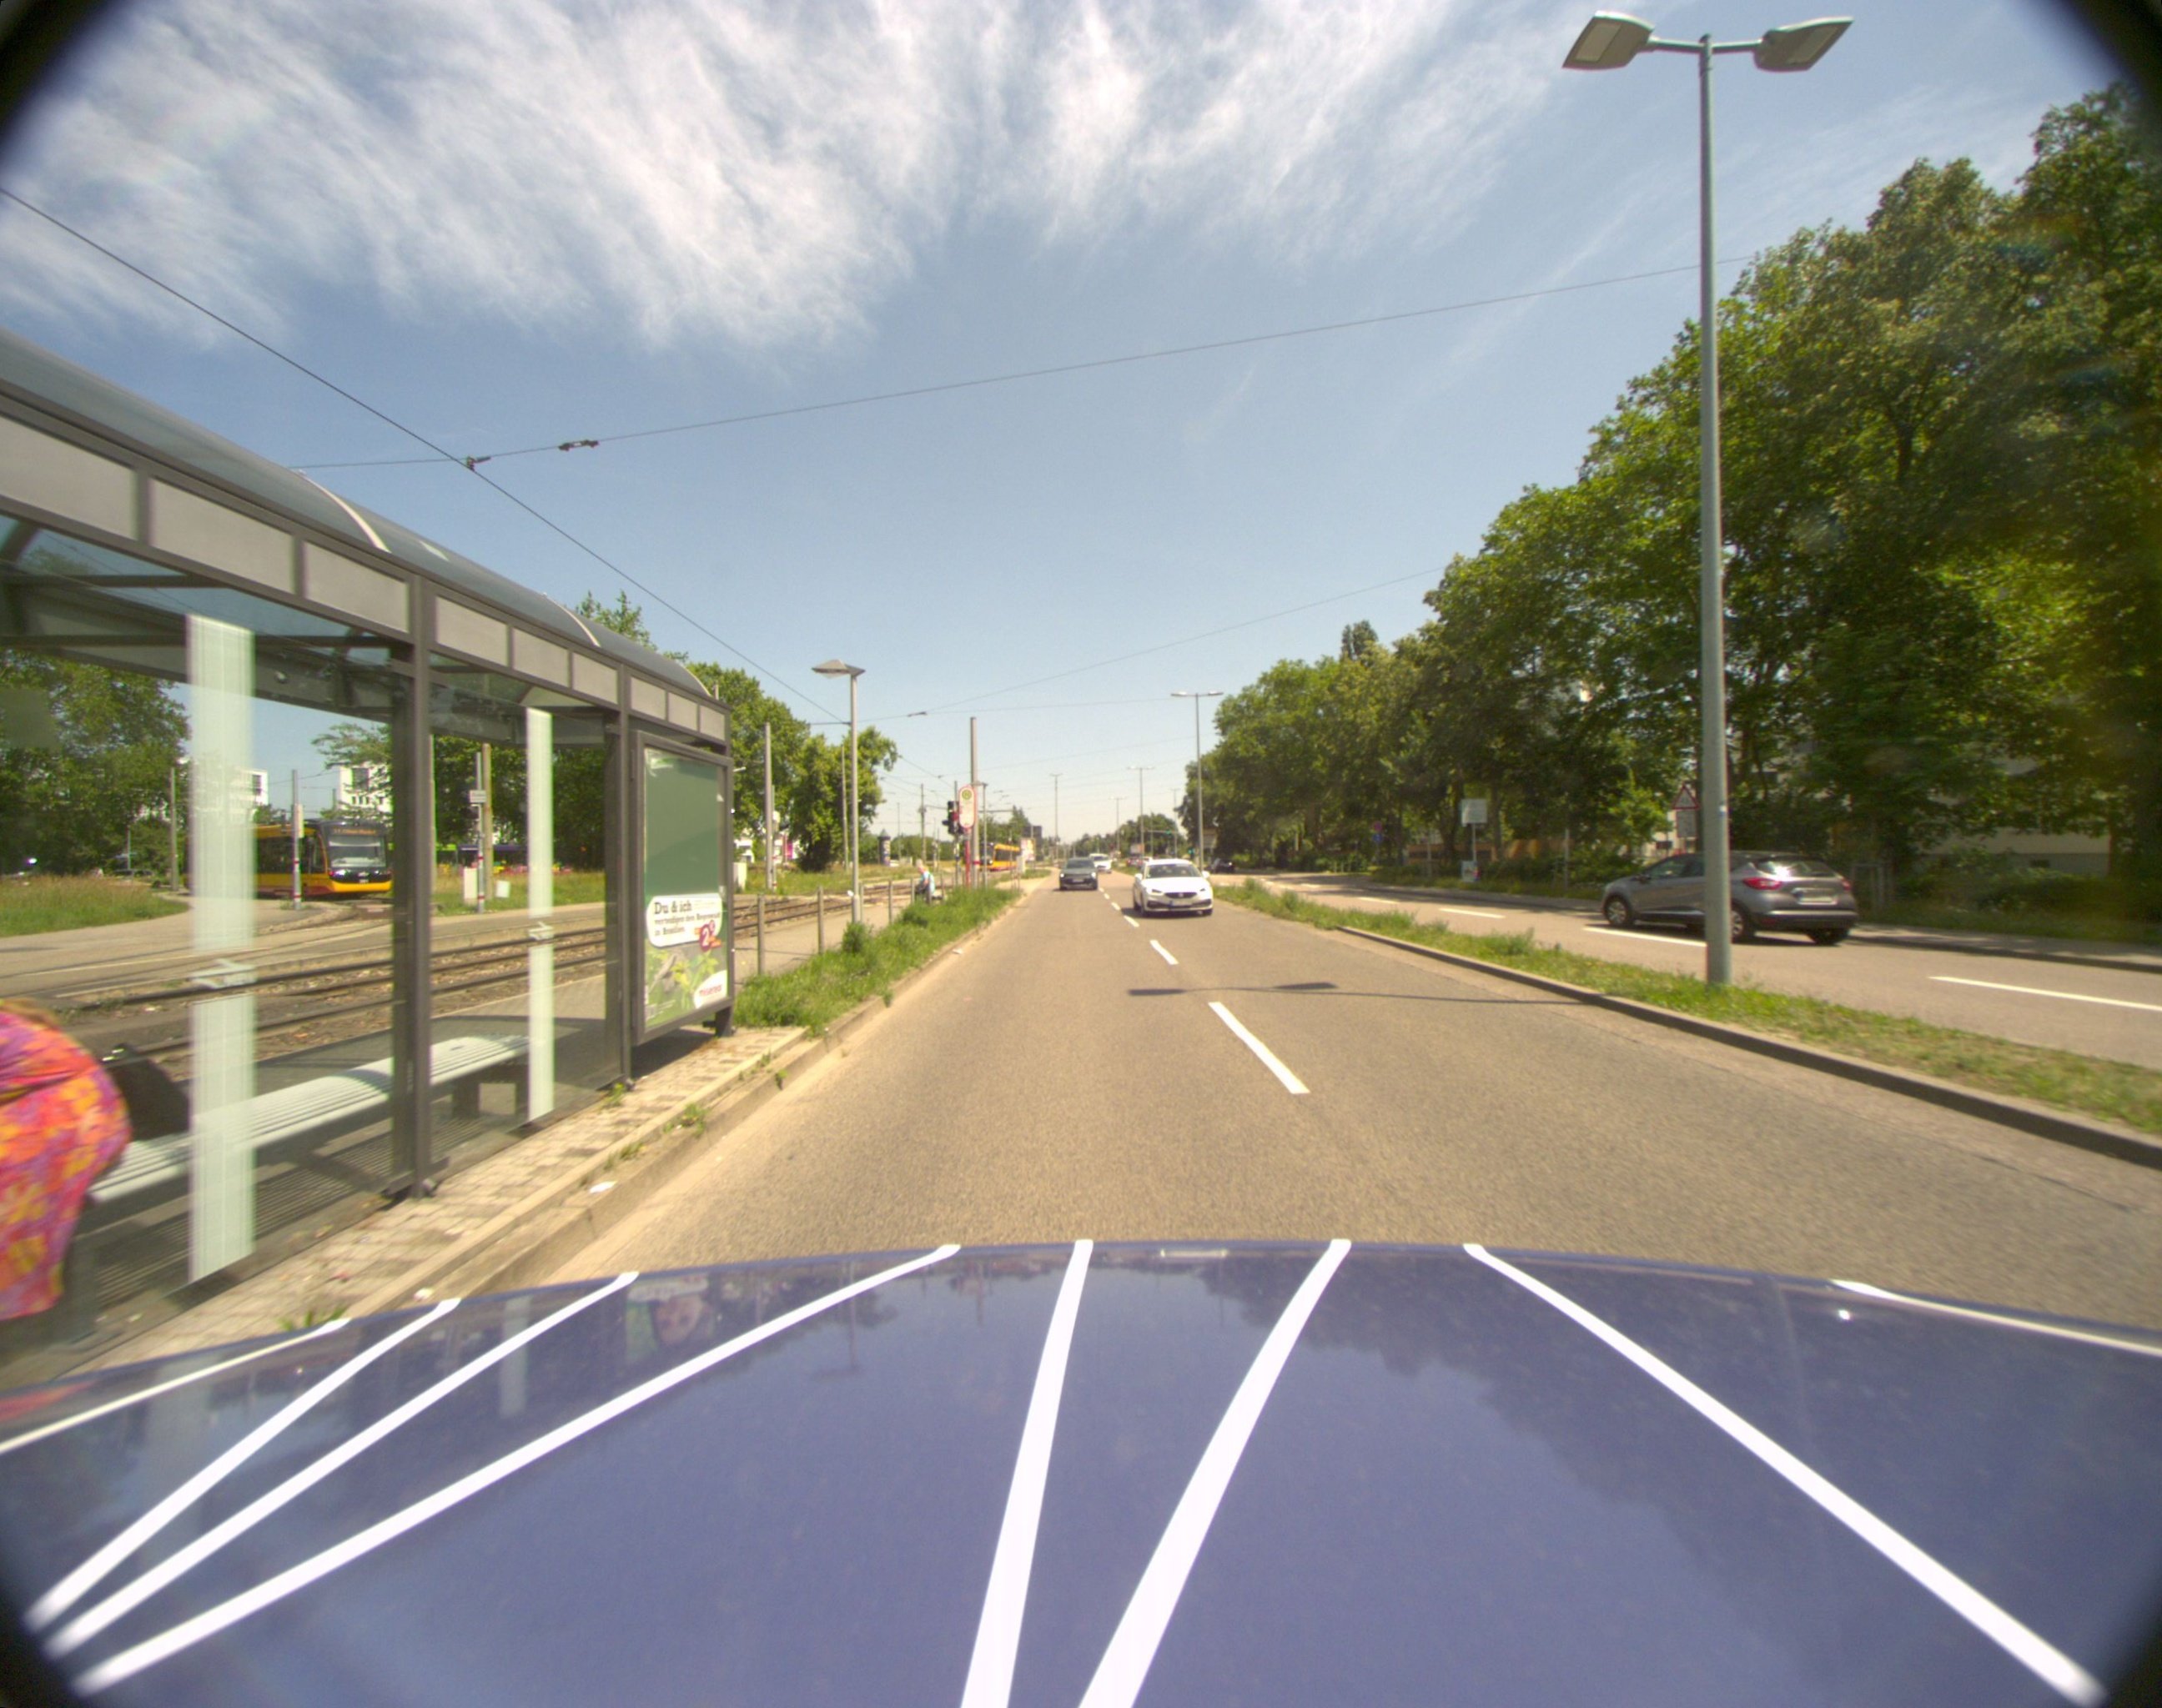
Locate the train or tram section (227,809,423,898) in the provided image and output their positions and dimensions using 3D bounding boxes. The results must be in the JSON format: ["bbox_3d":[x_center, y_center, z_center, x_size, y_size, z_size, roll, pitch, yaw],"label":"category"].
[{"bbox_3d":[-35.154,0.083,35.075,13.151,3.628,2.720,-1,2,29],"label":"train or tram section"}]

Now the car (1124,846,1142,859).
[{"bbox_3d":[7.545,-0.207,110.641,1.999,1.788,3.998,0,0,-3],"label":"car"}]

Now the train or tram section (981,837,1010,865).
[{"bbox_3d":[-10.183,-0.350,91.285,2.524,3.303,7.260,0,0,1],"label":"train or tram section"}]

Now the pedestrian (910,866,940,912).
[{"bbox_3d":[-4.011,0.891,19.579,0.611,1.123,0.621,-2,2,-1],"label":"pedestrian"}]

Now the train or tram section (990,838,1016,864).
[{"bbox_3d":[-10.102,-0.368,98.528,2.524,3.303,7.260,0,0,1],"label":"train or tram section"}]

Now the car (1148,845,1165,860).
[{"bbox_3d":[10.167,-0.171,102.280,1.998,2.002,4.000,0,0,1],"label":"car"}]

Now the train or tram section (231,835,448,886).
[{"bbox_3d":[-58.206,0.452,60.569,2.711,3.598,13.261,0,0,9],"label":"train or tram section"}]

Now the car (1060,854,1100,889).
[{"bbox_3d":[0.004,0.810,37.362,1.788,1.554,4.135,-2,0,2],"label":"car"}]

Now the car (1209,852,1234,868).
[{"bbox_3d":[13.461,0.521,72.804,1.744,1.499,4.636,0,0,3],"label":"car"}]

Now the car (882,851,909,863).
[{"bbox_3d":[-26.698,0.447,109.545,1.849,1.609,4.004,-2,1,19],"label":"car"}]

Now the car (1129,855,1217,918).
[{"bbox_3d":[2.369,0.792,20.549,1.772,1.460,4.111,-2,0,-1],"label":"car"}]

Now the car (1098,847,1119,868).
[{"bbox_3d":[2.658,0.292,74.339,1.998,2.002,4.000,0,1,2],"label":"car"}]

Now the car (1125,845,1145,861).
[{"bbox_3d":[6.983,-0.120,98.711,1.999,2.002,3.998,0,0,-3],"label":"car"}]

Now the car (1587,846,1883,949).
[{"bbox_3d":[11.554,0.664,13.888,1.772,1.545,4.082,1,1,-2],"label":"car"}]

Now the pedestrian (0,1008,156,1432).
[{"bbox_3d":[-3.098,0.985,2.007,0.577,1.034,0.579,0,1,0],"label":"pedestrian"}]

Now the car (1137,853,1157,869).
[{"bbox_3d":[7.261,0.741,83.772,1.816,1.631,3.999,-2,1,0],"label":"car"}]

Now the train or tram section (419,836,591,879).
[{"bbox_3d":[-54.454,0.169,72.635,2.709,3.628,13.270,-1,1,24],"label":"train or tram section"}]

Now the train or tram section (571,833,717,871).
[{"bbox_3d":[-47.066,-0.305,82.419,13.275,3.628,2.708,-3,2,-39],"label":"train or tram section"}]
